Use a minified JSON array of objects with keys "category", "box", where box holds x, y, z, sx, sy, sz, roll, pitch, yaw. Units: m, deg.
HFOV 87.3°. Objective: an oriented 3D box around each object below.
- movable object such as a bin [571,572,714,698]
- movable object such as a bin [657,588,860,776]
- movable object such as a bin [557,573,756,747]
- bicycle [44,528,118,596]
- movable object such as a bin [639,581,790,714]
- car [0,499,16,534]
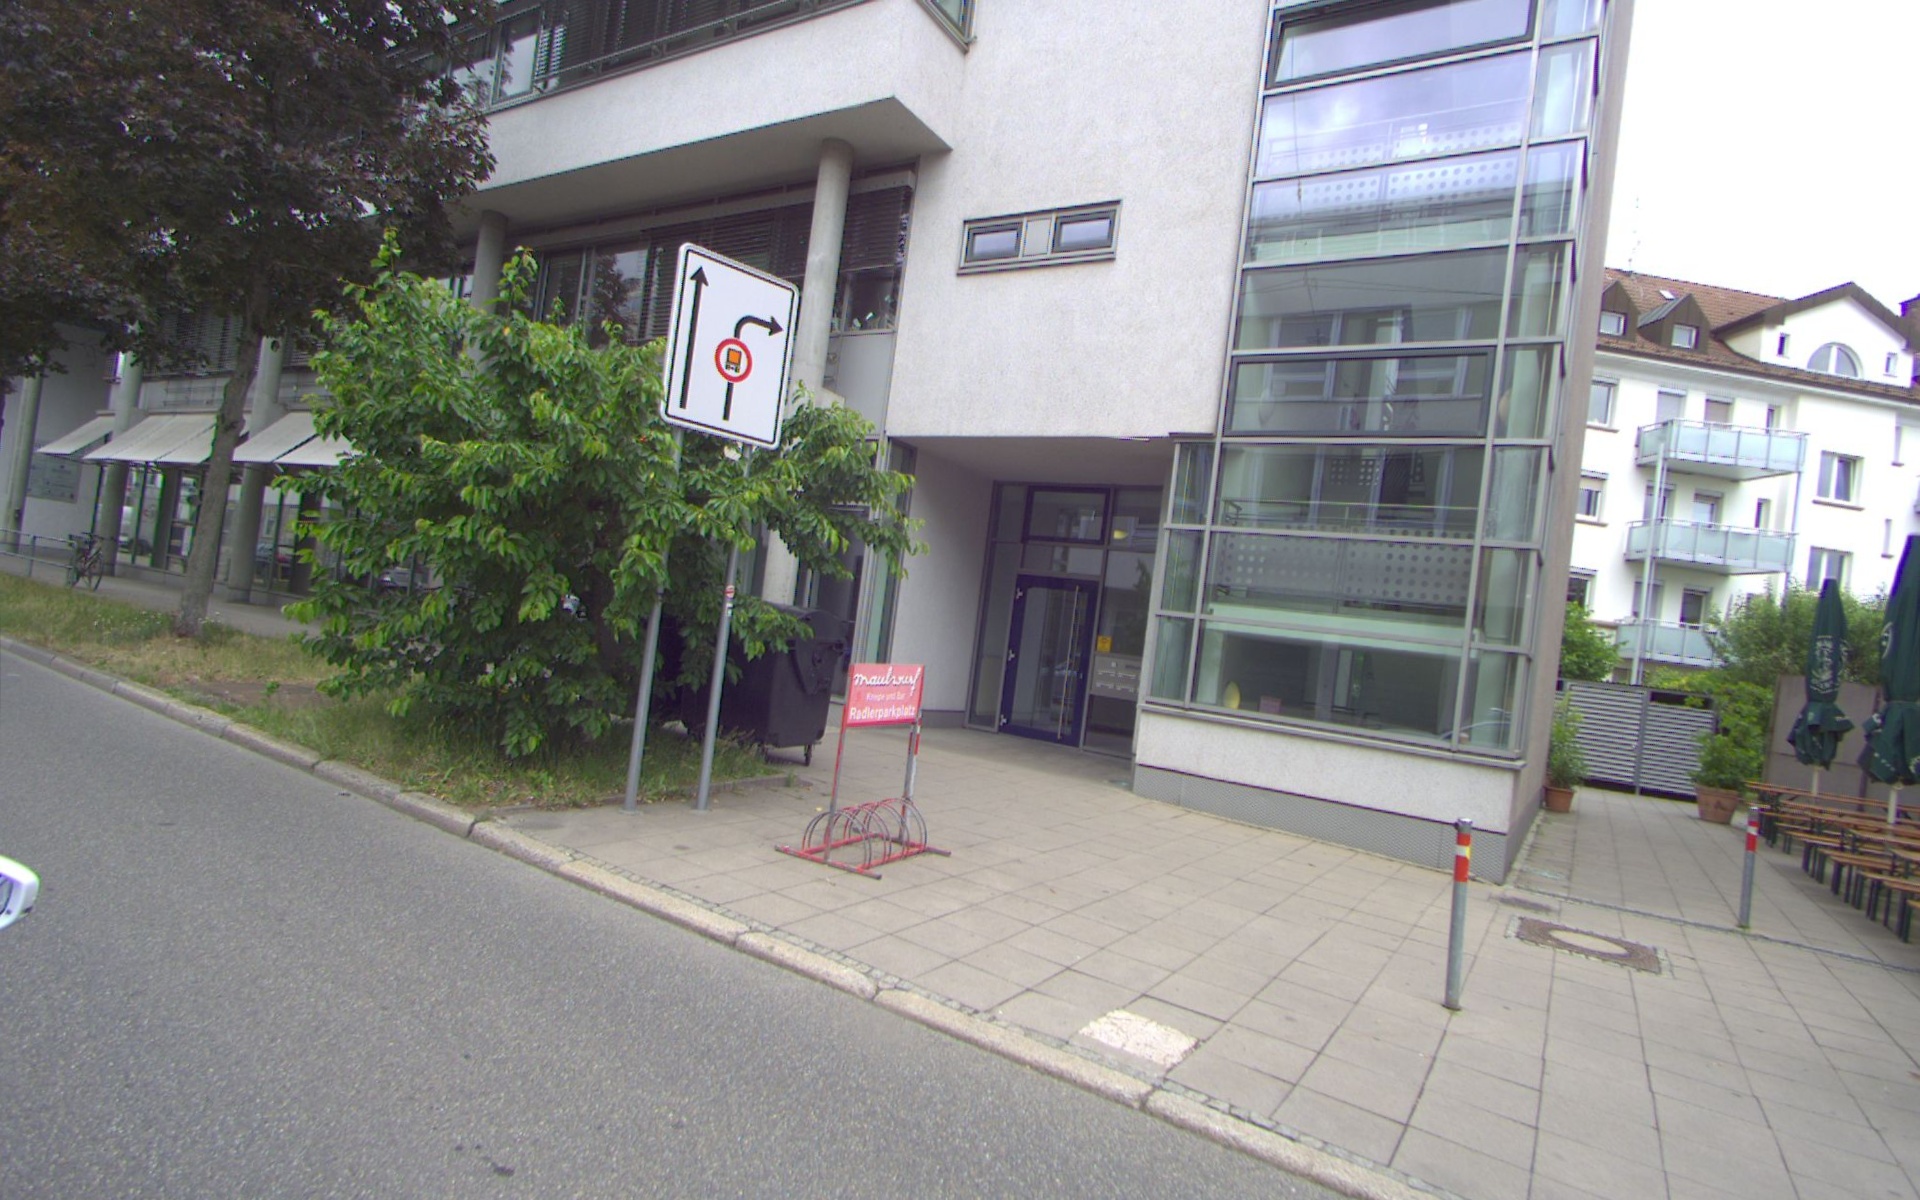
[{"category":"movable object such as a bin","box":[-4.247,0.474,13.480,1.311,1.484,1.099,7,0,31]},{"category":"movable object such as a bin","box":[-1.862,0.730,9.341,1.311,1.484,1.099,7,0,31]},{"category":"movable object such as a bin","box":[-3.013,0.580,10.029,1.389,1.484,1.129,7,0,31]},{"category":"bicycle","box":[-16.788,-0.733,19.190,1.994,1.099,0.361,7,-2,31]},{"category":"movable object such as a bin","box":[-3.111,0.602,12.784,1.311,1.484,1.123,7,0,31]},{"category":"car","box":[-49.378,-4.538,48.973,1.709,1.622,4.566,7,-4,25]}]
